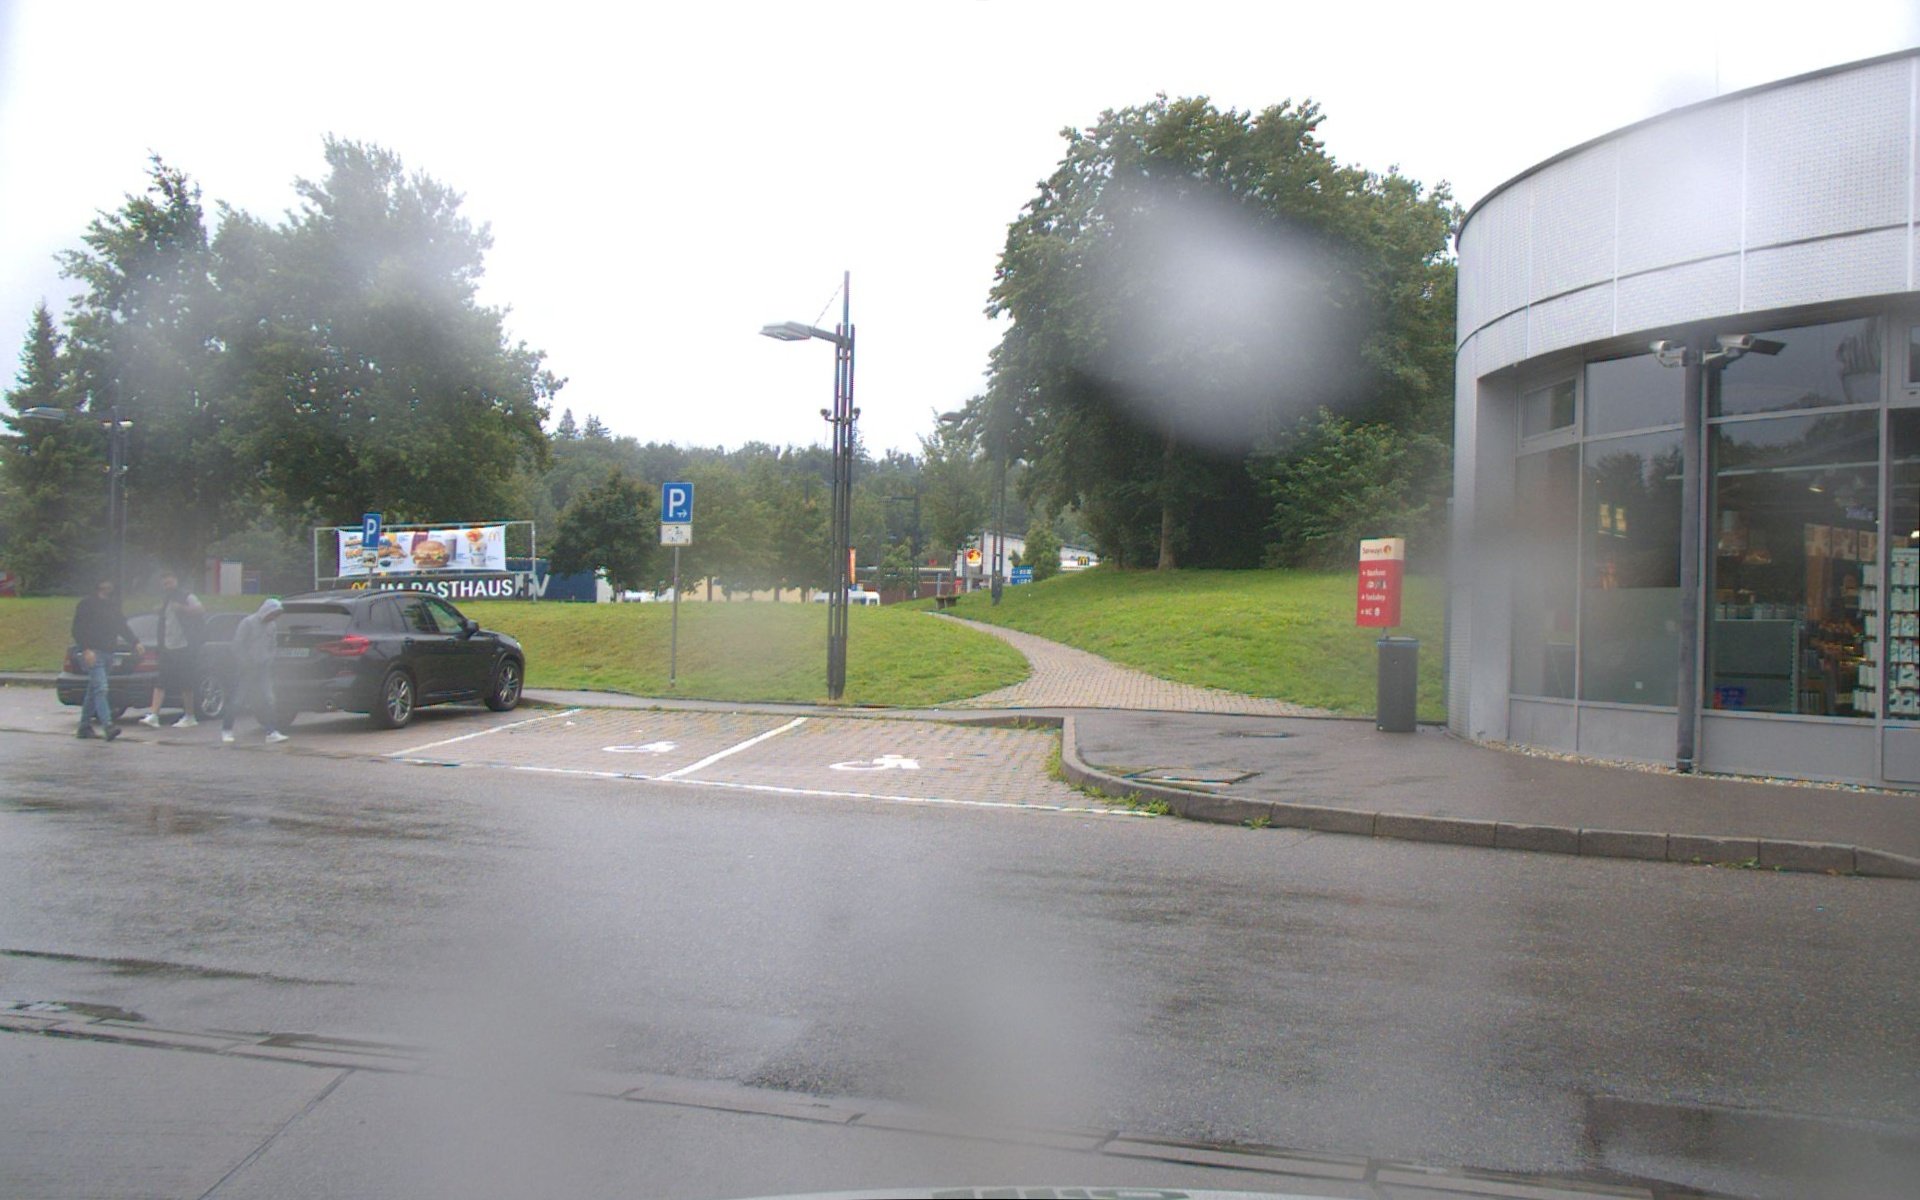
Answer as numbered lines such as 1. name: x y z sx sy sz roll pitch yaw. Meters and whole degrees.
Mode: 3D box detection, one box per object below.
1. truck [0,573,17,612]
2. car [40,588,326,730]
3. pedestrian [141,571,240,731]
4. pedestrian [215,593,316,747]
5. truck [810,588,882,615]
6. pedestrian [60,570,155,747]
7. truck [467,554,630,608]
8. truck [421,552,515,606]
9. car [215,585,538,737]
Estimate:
1. truck: -78.674 -0.643 134.516 2.443 3.139 7.305 1 0 -23
2. car: -10.568 0.722 22.902 1.976 1.741 4.342 -1 1 -2
3. pedestrian: -9.521 0.618 20.495 0.687 1.920 0.954 1 -1 5
4. pedestrian: -7.772 0.765 18.508 0.937 1.660 0.700 0 -1 42
5. truck: -9.220 0.140 133.679 5.298 2.049 2.366 1 0 24
6. pedestrian: -9.546 0.631 18.516 0.699 1.920 0.879 1 -1 -45
7. truck: -24.919 -1.082 101.283 2.142 2.971 13.092 1 0 23
8. truck: -27.970 -1.165 94.268 2.142 2.971 5.384 1 0 24
9. car: -7.360 0.696 21.384 1.973 1.741 4.347 -1 1 11
